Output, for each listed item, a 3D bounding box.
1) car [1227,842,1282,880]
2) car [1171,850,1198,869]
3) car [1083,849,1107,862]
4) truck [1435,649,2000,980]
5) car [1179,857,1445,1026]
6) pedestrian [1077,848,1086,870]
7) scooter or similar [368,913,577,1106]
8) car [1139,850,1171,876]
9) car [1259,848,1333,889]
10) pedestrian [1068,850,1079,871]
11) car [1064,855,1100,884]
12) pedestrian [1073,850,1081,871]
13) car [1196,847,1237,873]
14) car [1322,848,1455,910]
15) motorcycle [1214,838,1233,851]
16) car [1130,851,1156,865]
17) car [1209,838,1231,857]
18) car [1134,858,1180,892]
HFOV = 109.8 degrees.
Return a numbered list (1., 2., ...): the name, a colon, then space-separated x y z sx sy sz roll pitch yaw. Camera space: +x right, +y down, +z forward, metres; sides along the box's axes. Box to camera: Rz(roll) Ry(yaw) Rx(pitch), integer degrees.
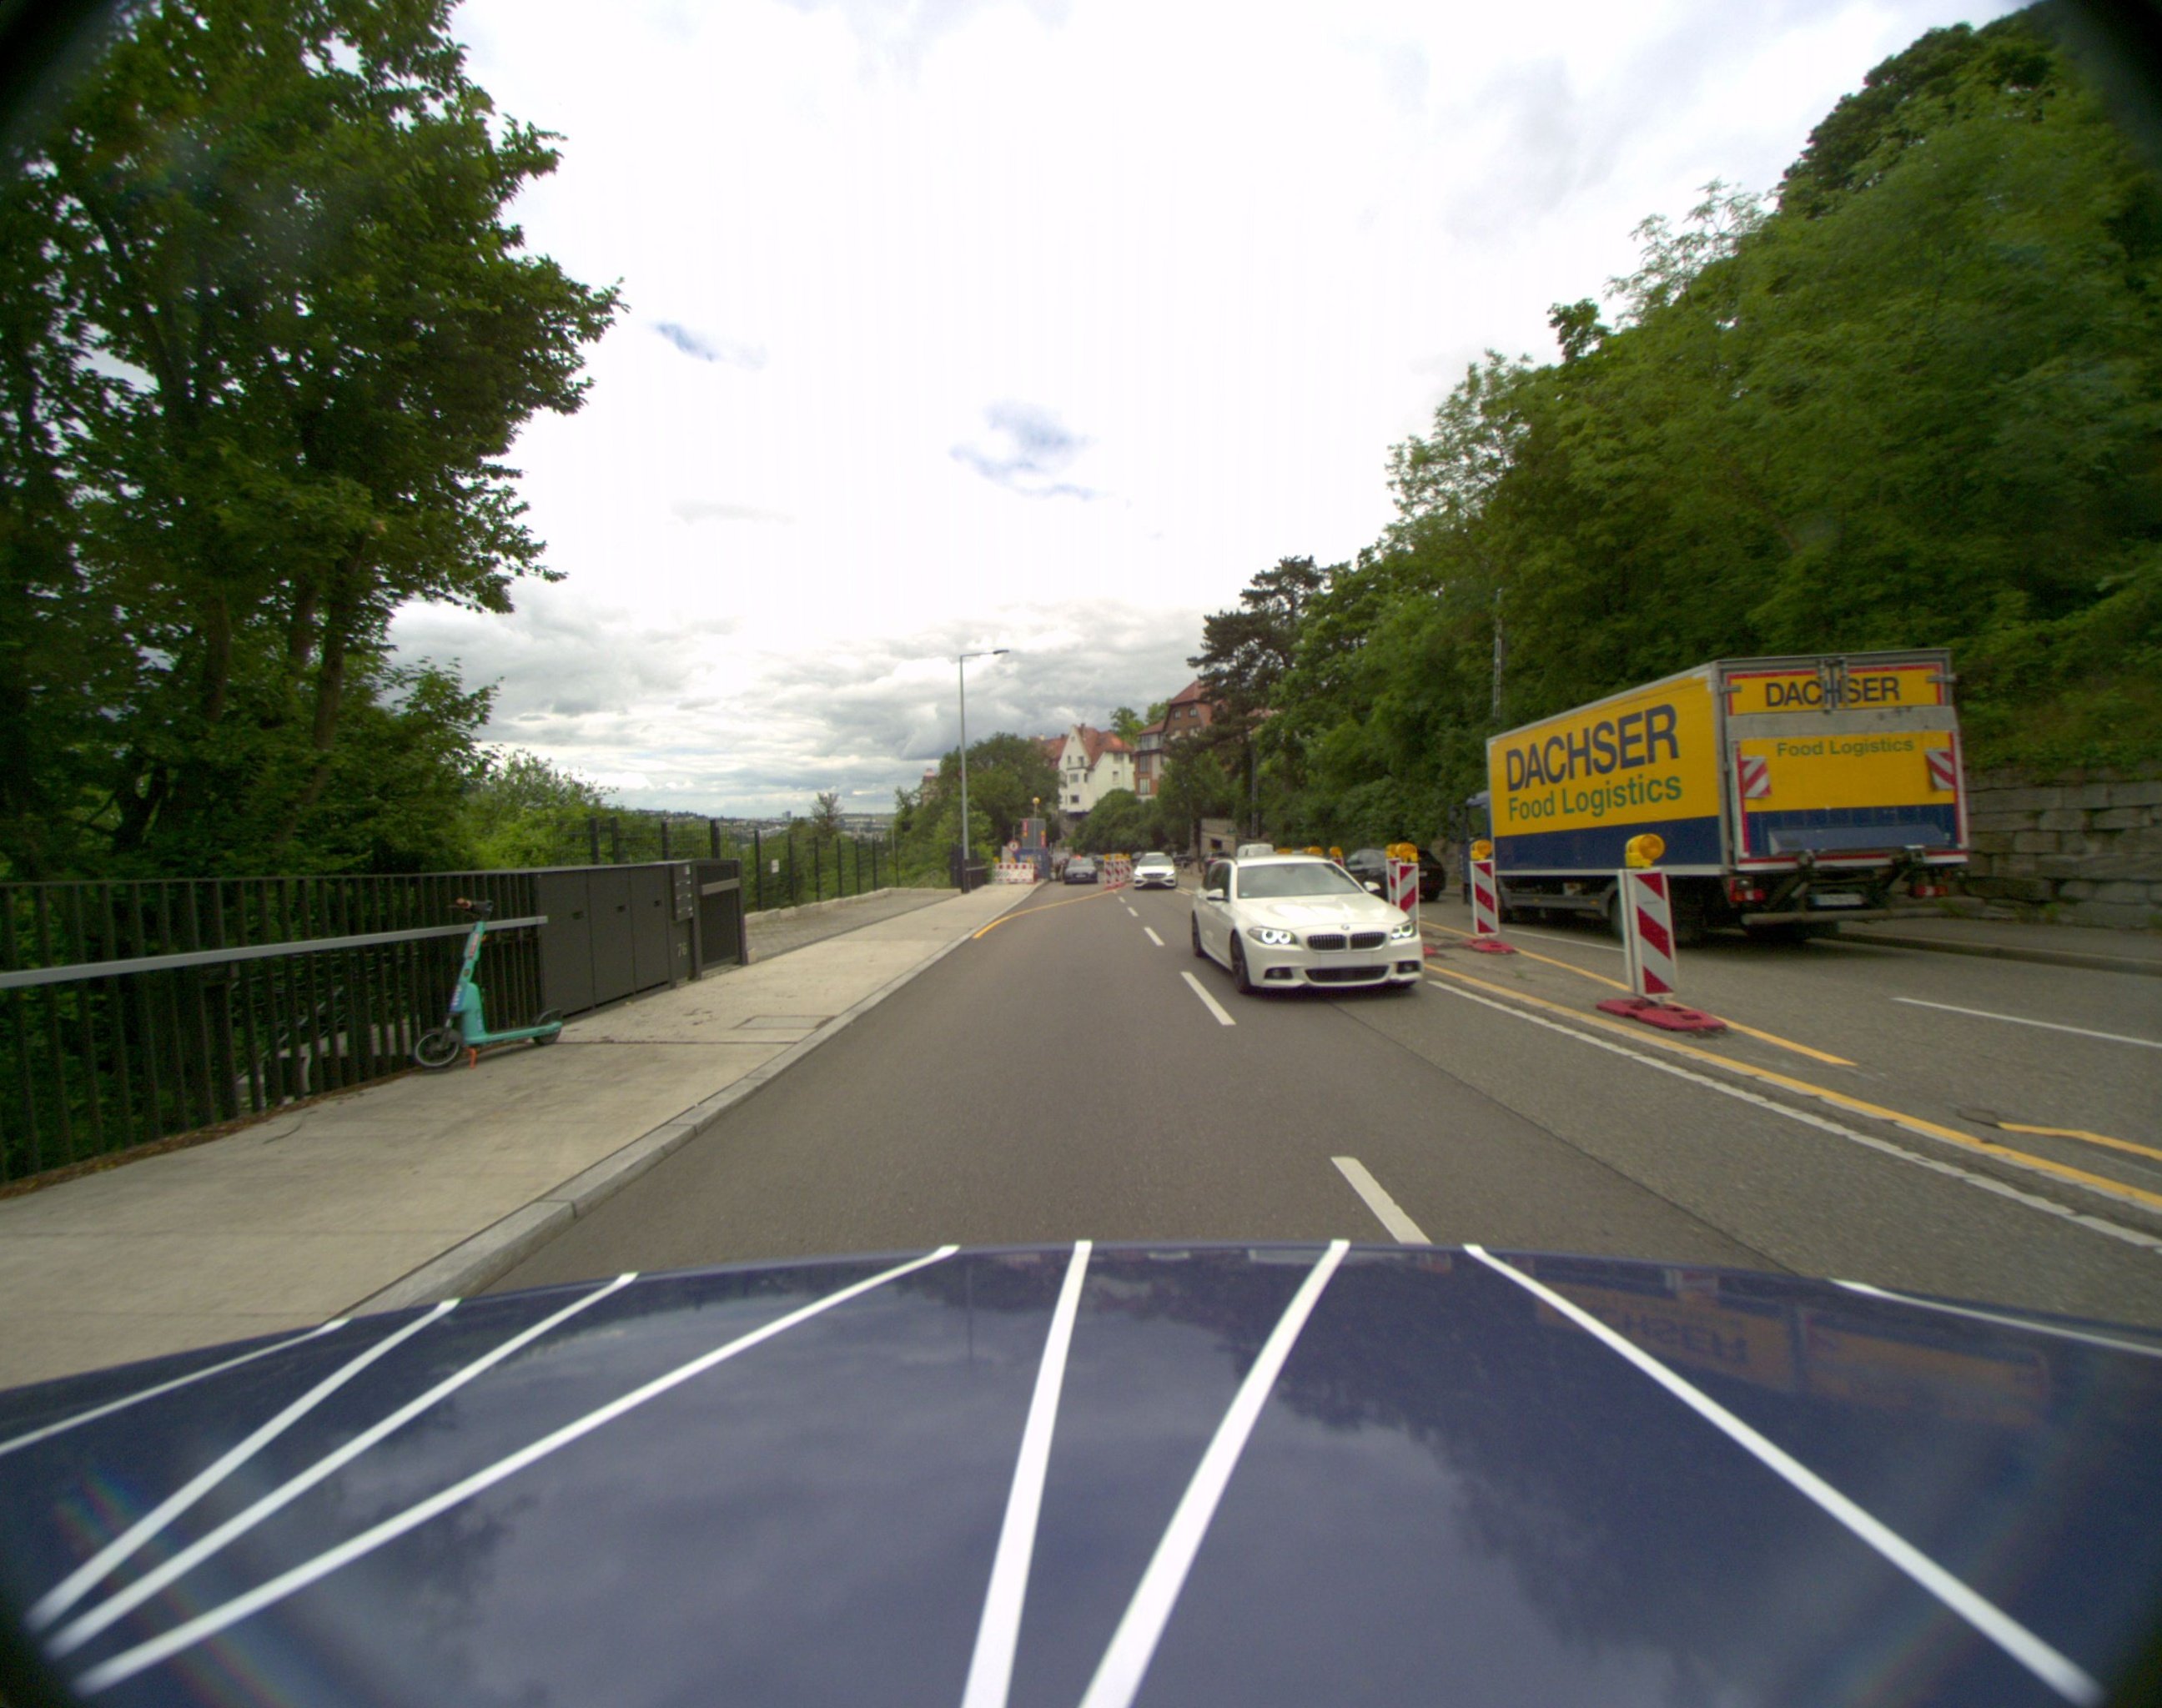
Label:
1. car: 9.012 0.306 39.721 1.807 1.780 4.341 -3 1 0
2. car: 9.275 0.466 68.315 1.833 1.476 4.318 -3 1 1
3. car: 1.861 0.200 105.289 1.771 1.587 3.784 -7 2 -23
4. truck: 8.609 -0.454 11.900 2.738 3.490 7.349 -2 1 1
5. car: 2.507 0.840 9.650 1.852 1.458 4.878 -3 0 0
6. pedestrian: 0.057 0.442 66.569 0.640 1.848 0.834 1 0 -11
7. scooter or similar: -4.555 1.103 5.782 0.535 1.219 1.207 0 0 7
8. car: 5.055 0.586 52.436 1.885 1.569 4.000 -3 1 2
9. car: 8.891 0.536 31.800 1.796 1.499 4.311 -3 1 0
10. pedestrian: -0.649 0.593 68.618 0.620 1.873 0.717 0 -2 -40
11. car: 0.097 0.814 42.783 1.844 1.446 4.627 -2 0 1
12. pedestrian: -0.359 0.606 67.529 0.527 1.832 0.796 1 0 -11
13. car: 9.020 0.382 50.904 1.835 1.583 4.654 -3 1 1
14. car: 8.393 0.610 21.247 1.775 1.433 4.745 -3 1 0
15. motorcycle: 14.403 -0.951 76.807 1.842 1.177 0.636 -3 5 4
16. car: 7.370 0.430 90.476 1.825 1.426 3.710 -7 1 -16
17. car: 14.451 -0.725 79.047 1.572 1.596 3.584 -4 5 0
18. car: 3.274 0.863 33.387 1.797 1.299 4.101 -2 0 3
